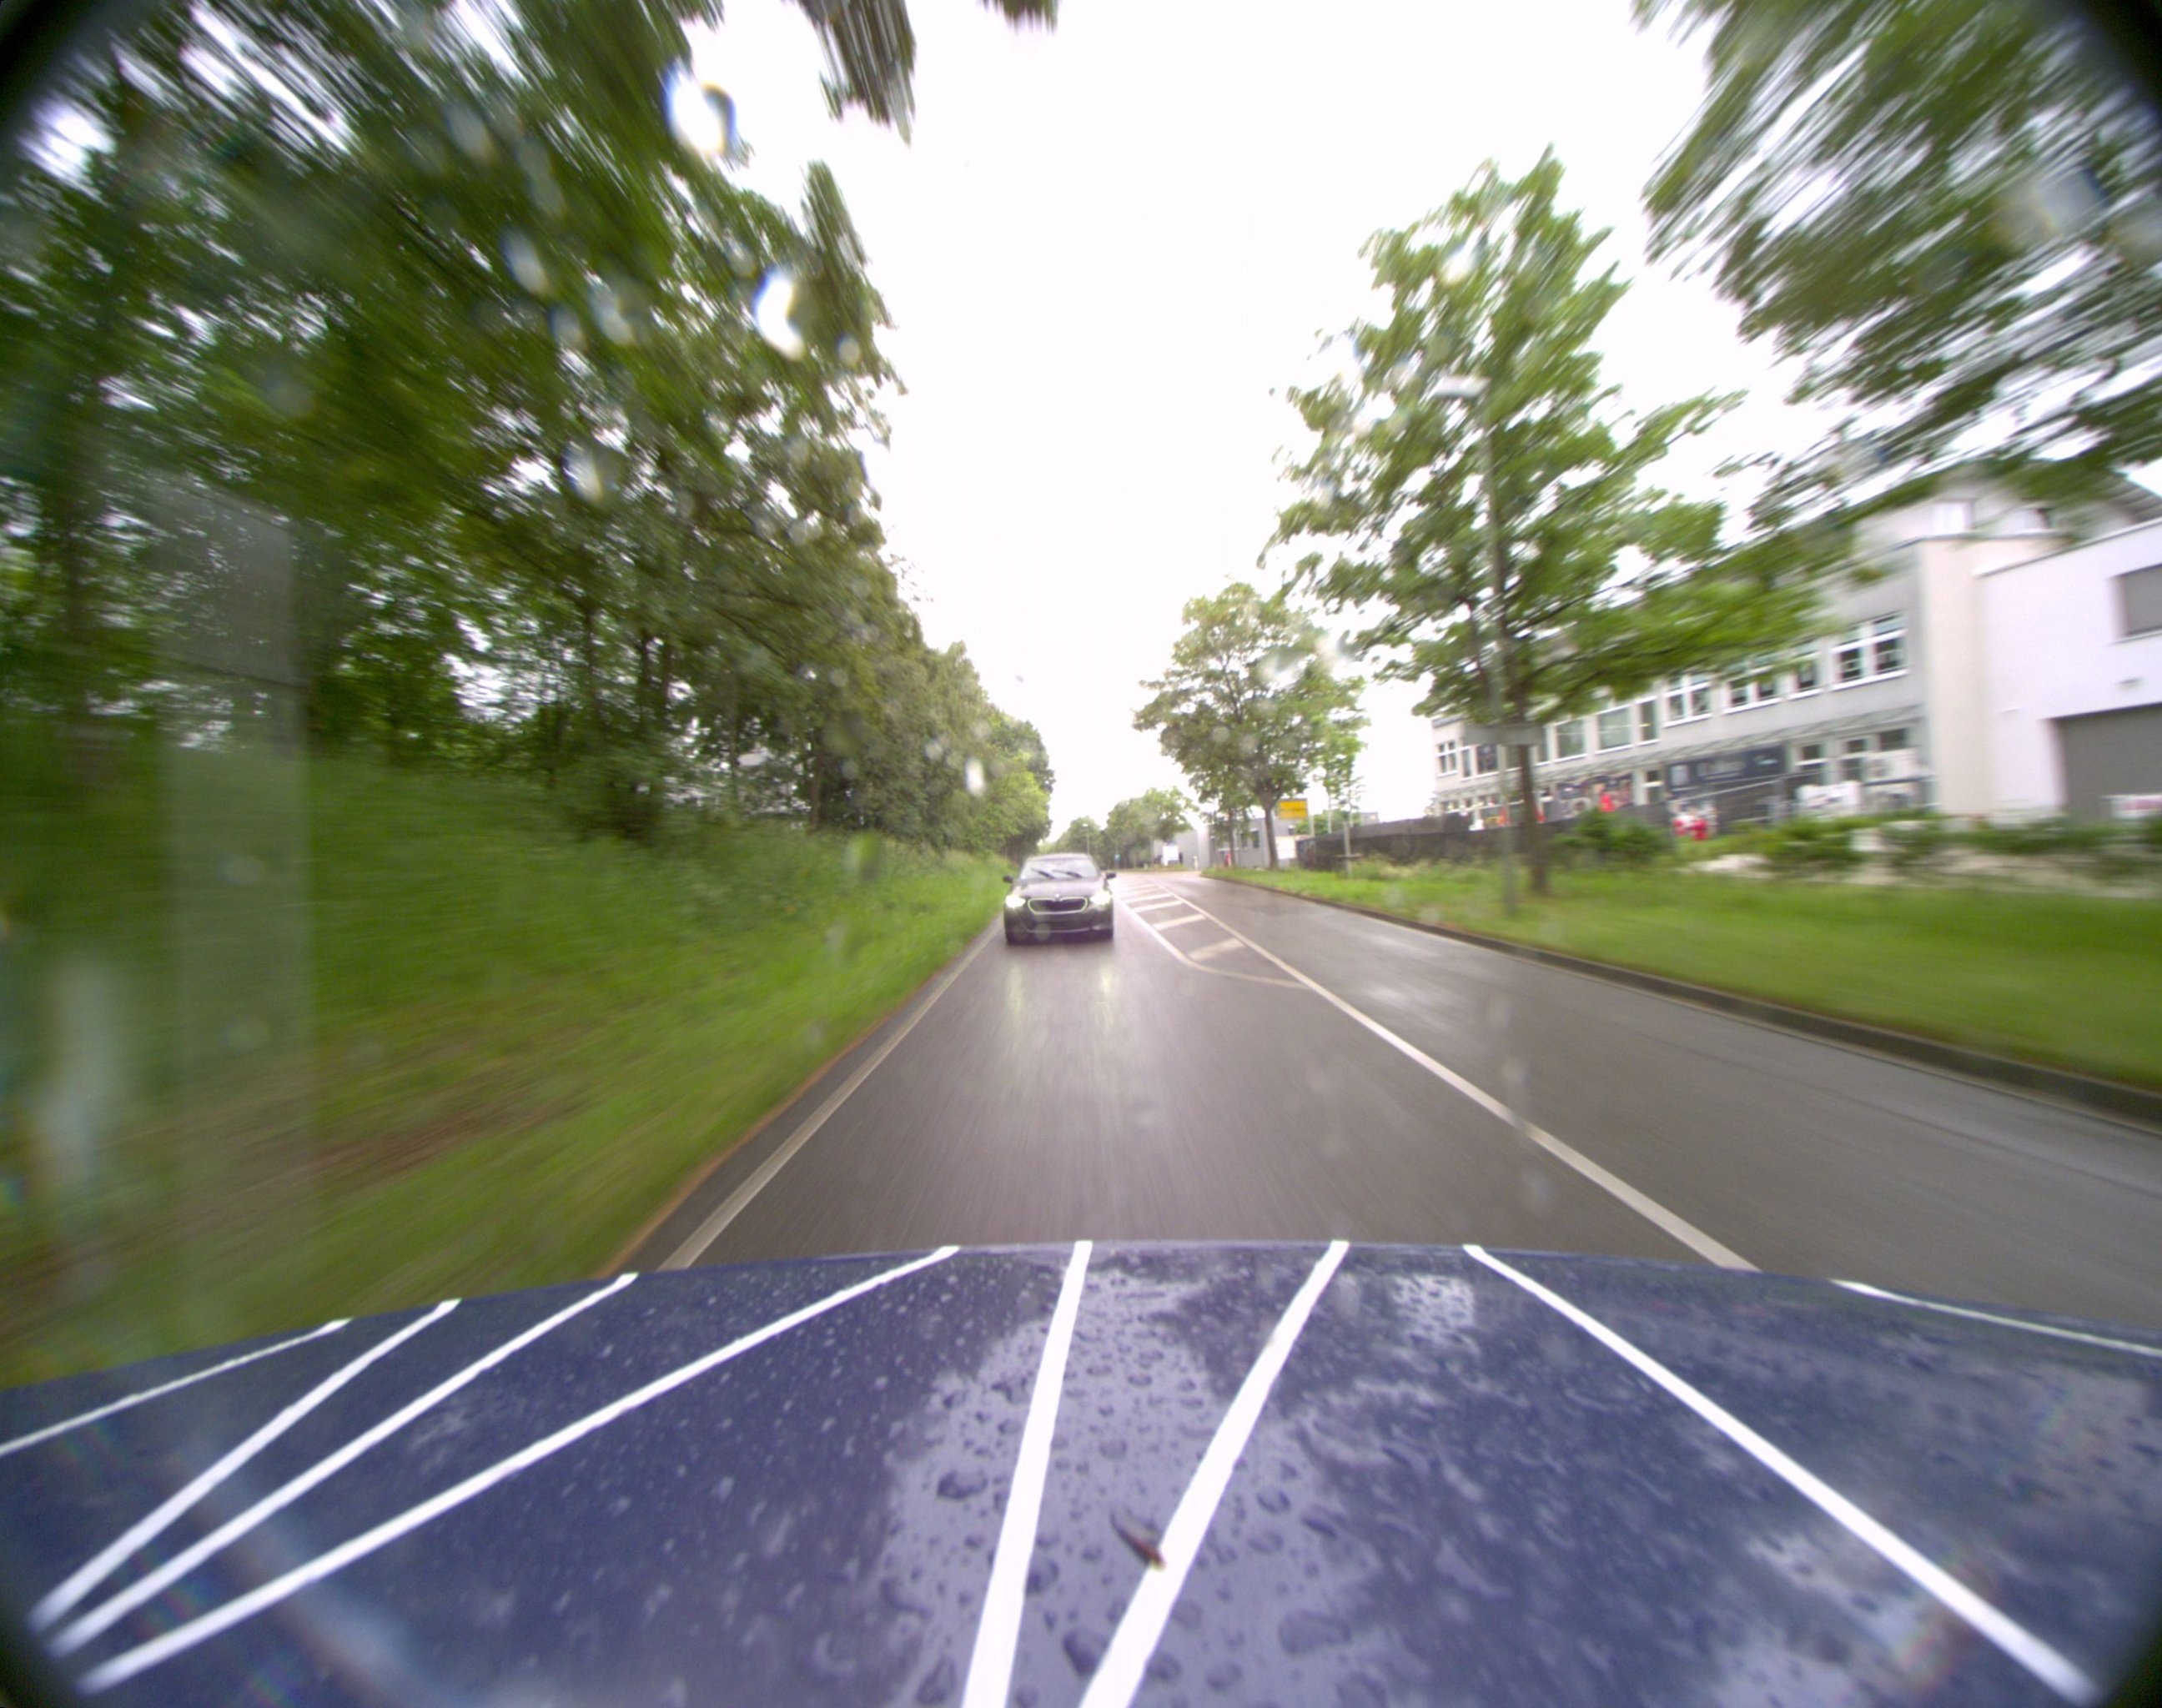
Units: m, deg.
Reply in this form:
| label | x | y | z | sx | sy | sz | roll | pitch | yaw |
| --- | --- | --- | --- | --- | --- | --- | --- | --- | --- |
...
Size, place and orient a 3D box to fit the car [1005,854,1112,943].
| label | x | y | z | sx | sy | sz | roll | pitch | yaw |
| --- | --- | --- | --- | --- | --- | --- | --- | --- | --- |
| car | -0.473 | 0.805 | 15.739 | 1.845 | 1.471 | 3.999 | -3 | 0 | -2 |

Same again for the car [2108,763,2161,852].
| label | x | y | z | sx | sy | sz | roll | pitch | yaw |
| --- | --- | --- | --- | --- | --- | --- | --- | --- | --- |
| car | 24.781 | -0.760 | 14.865 | 1.910 | 1.908 | 5.217 | -2 | 9 | -3 |
